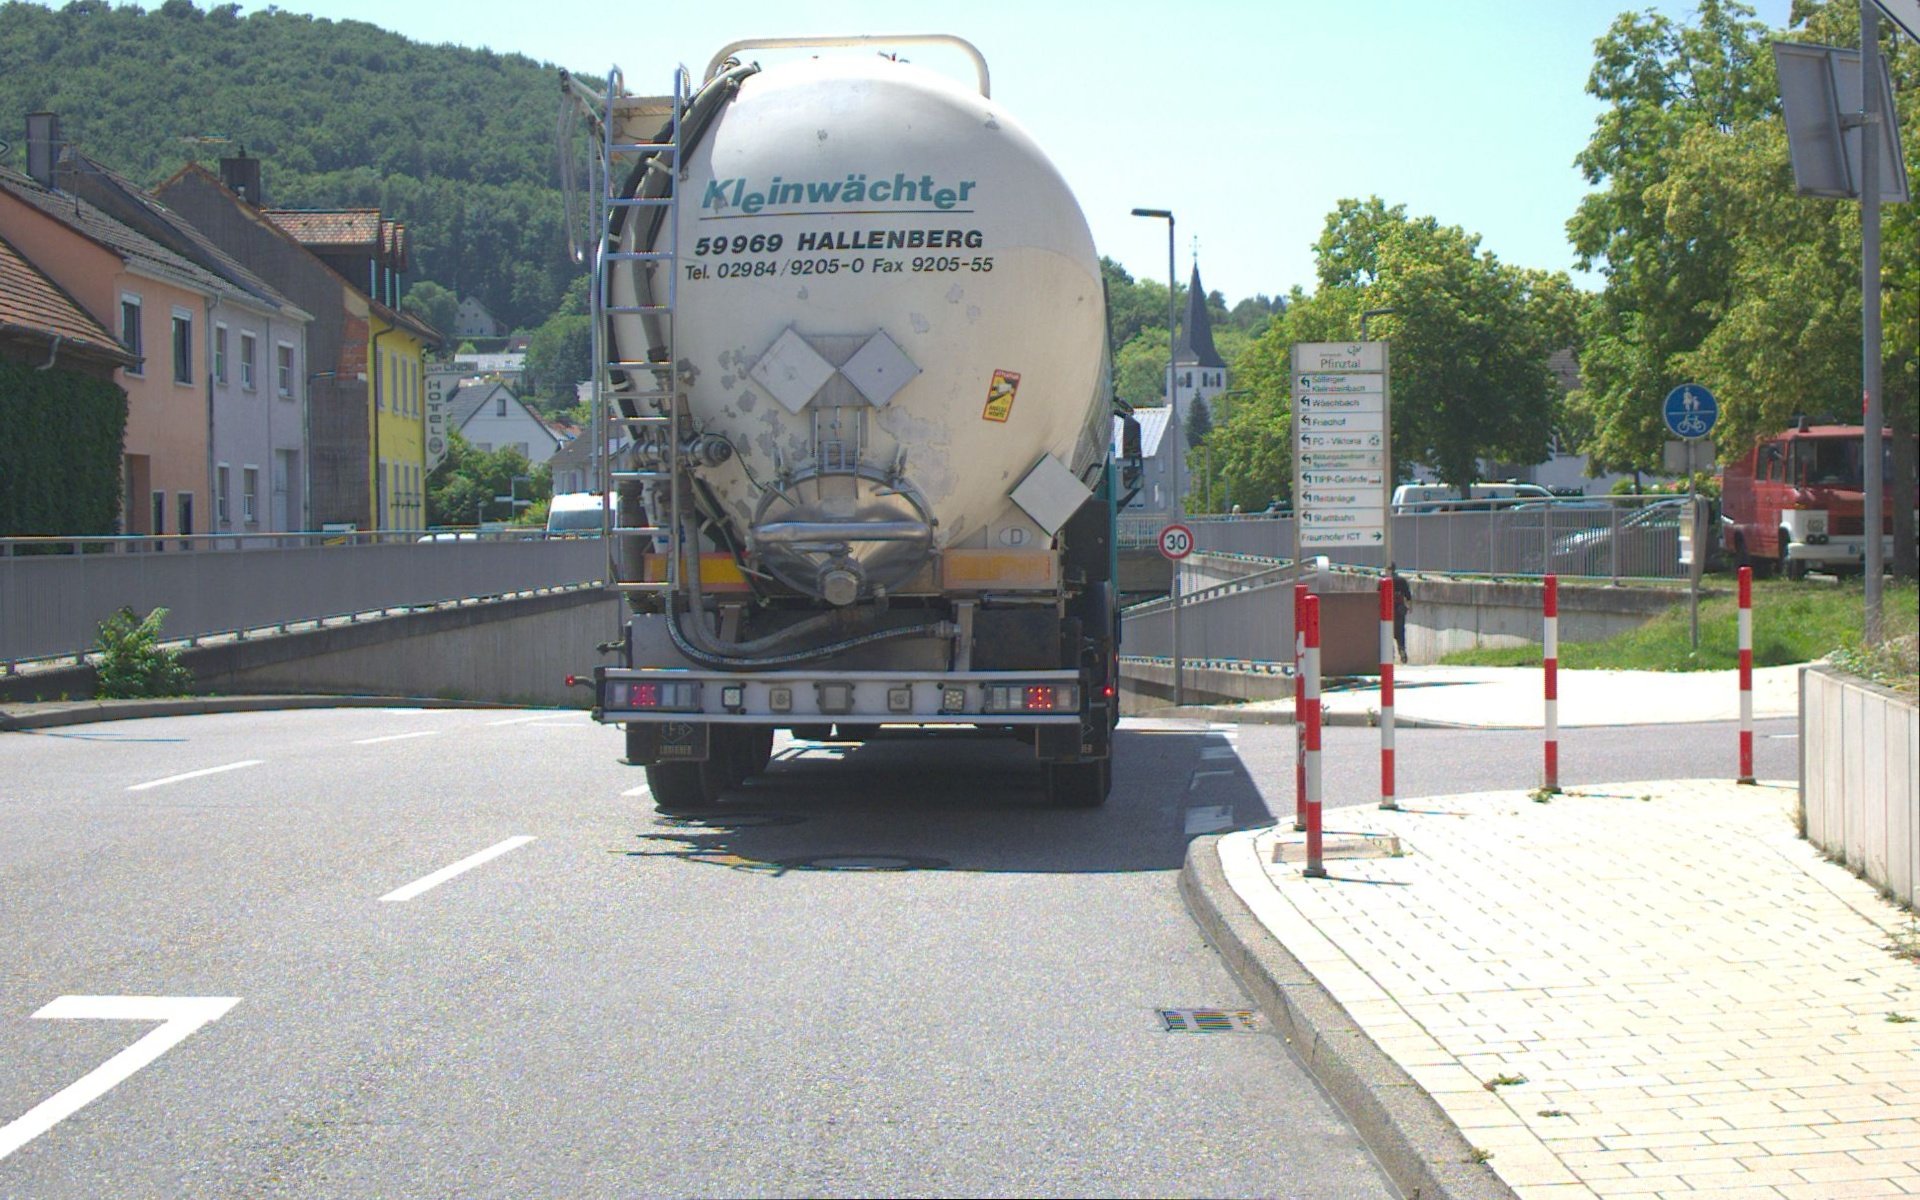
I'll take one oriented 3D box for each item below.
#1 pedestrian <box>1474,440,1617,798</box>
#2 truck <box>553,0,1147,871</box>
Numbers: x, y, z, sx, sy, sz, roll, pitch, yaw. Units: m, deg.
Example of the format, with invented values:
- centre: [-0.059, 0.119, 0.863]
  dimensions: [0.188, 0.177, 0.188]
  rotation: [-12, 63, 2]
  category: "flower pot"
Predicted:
- centre: [2.828, 0.090, 16.643]
  dimensions: [0.571, 1.688, 0.721]
  rotation: [1, 0, 3]
  category: "pedestrian"
- centre: [-0.724, -0.880, 21.416]
  dimensions: [2.750, 4.043, 10.891]
  rotation: [0, 1, -2]
  category: "truck"
